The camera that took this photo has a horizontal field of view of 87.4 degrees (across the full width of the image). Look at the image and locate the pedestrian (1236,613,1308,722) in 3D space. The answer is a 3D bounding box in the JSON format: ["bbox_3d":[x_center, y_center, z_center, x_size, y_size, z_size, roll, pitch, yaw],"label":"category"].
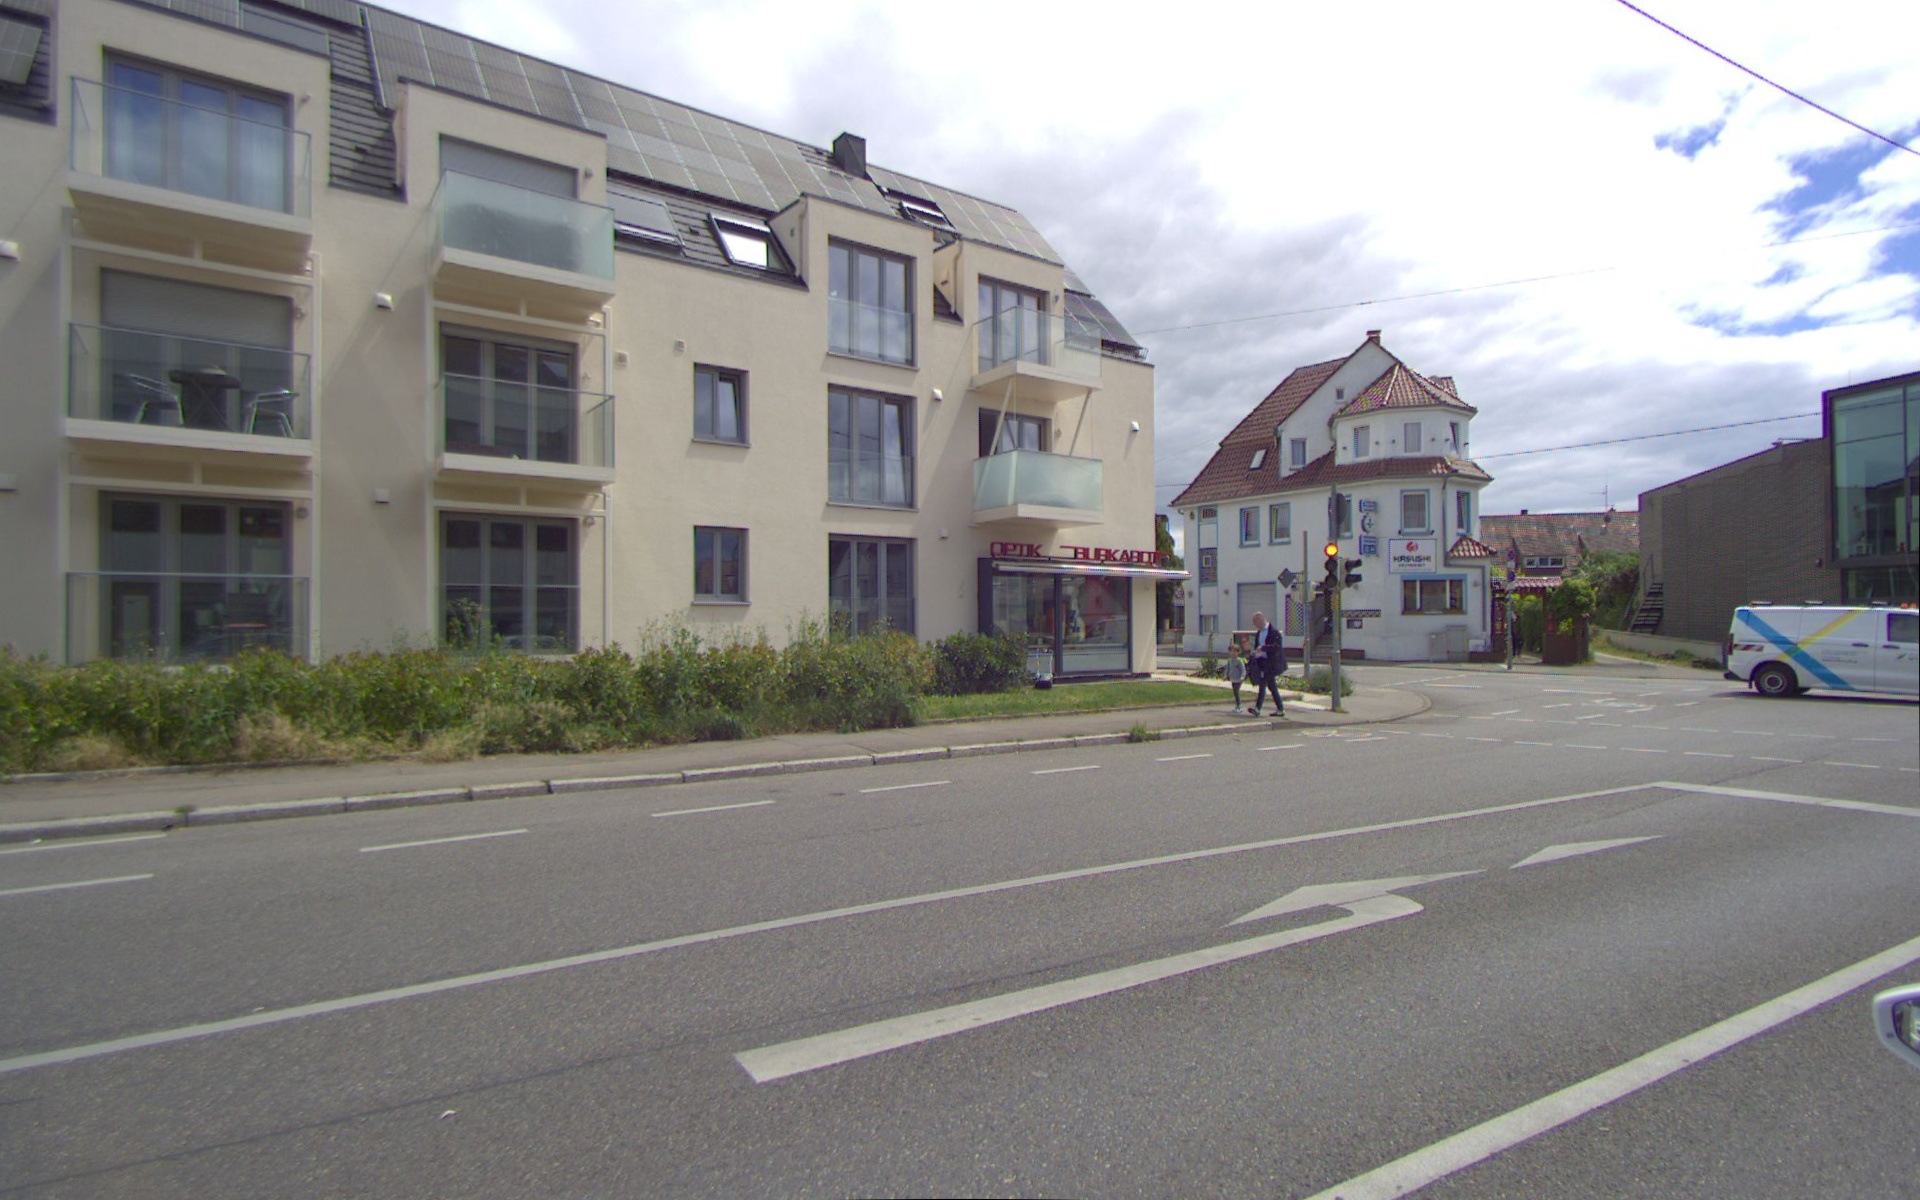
[{"bbox_3d":[5.157,1.088,16.620,0.817,1.744,0.809,1,-1,-36],"label":"pedestrian"}]

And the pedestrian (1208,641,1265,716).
[{"bbox_3d":[4.748,1.335,17.239,0.729,1.238,0.639,1,-1,-36],"label":"pedestrian"}]

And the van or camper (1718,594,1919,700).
[{"bbox_3d":[19.302,0.965,21.119,1.983,2.104,5.077,1,-2,-38],"label":"van or camper"}]

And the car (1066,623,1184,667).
[{"bbox_3d":[6.298,1.696,38.860,1.879,1.475,4.468,1,0,-36],"label":"car"}]
